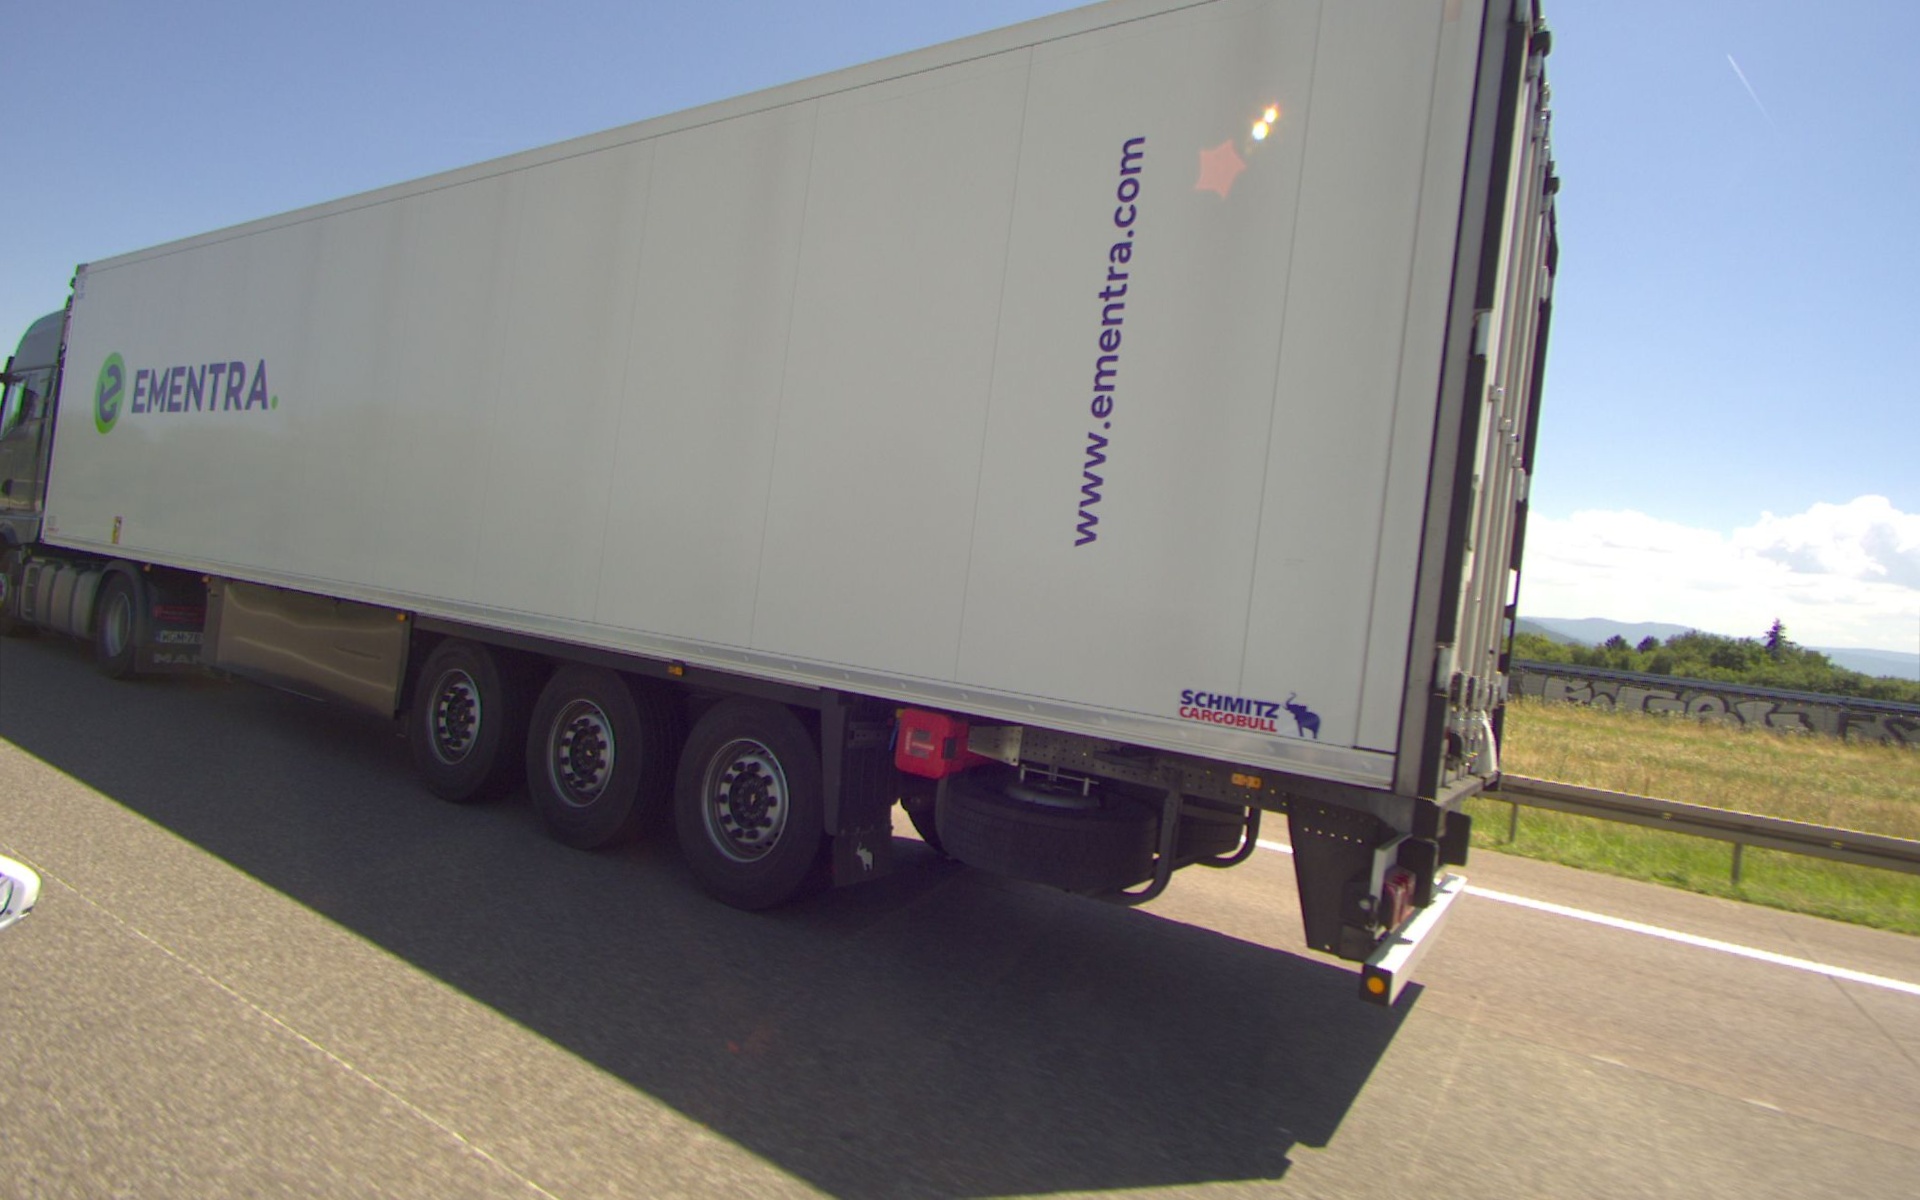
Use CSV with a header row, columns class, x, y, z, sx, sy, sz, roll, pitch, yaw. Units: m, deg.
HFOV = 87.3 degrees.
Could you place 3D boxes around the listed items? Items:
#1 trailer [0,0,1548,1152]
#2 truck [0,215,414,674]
class,x,y,z,sx,sy,sz,roll,pitch,yaw
trailer,-3.509,-1.143,8.122,13.760,4.712,2.905,7,-1,33
truck,-9.615,-1.623,12.136,4.893,4.306,2.913,7,-1,32
